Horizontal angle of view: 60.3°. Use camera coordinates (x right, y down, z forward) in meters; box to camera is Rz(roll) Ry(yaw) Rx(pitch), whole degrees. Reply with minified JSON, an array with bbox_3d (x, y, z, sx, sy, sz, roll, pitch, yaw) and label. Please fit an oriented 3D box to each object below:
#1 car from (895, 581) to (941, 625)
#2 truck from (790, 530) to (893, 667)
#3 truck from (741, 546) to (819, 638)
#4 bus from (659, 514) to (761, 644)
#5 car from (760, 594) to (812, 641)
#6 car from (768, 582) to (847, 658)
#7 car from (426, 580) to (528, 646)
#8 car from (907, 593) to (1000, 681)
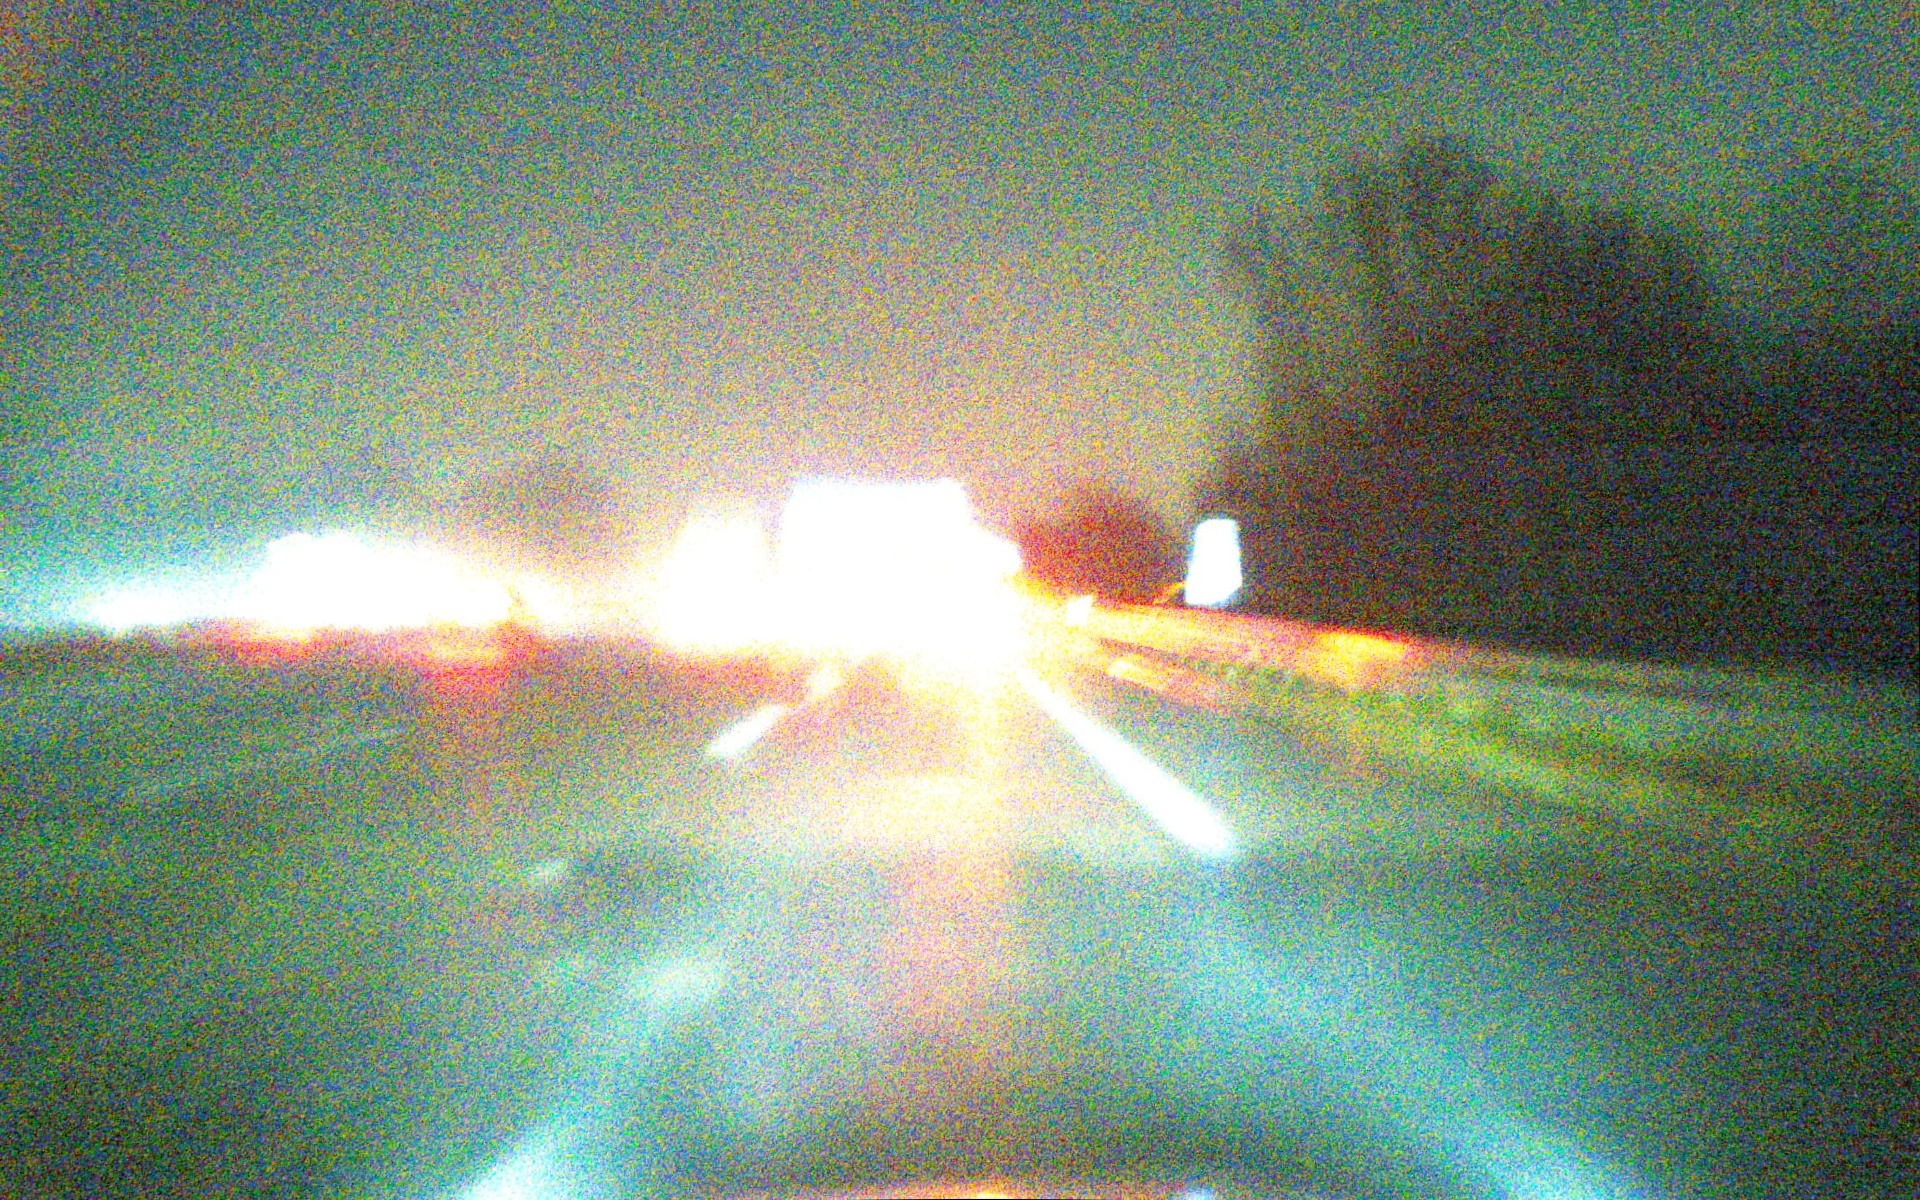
[{"bbox_3d":[-2.102,0.152,80.804,2.084,2.049,4.642,1,0,-3],"label":"car"},{"bbox_3d":[-5.252,-0.028,75.859,4.125,5.747,11.463,1,0,-2],"label":"truck"},{"bbox_3d":[-11.851,-0.485,110.035,4.125,5.747,11.463,1,0,-2],"label":"truck"},{"bbox_3d":[-9.533,-0.723,64.277,3.036,4.587,10.903,1,0,-4],"label":"bus"},{"bbox_3d":[-7.049,0.700,67.313,1.954,1.839,3.997,1,0,-4],"label":"car"},{"bbox_3d":[-4.374,0.567,48.009,2.084,2.049,4.642,1,0,-3],"label":"car"},{"bbox_3d":[-12.628,0.340,43.466,1.956,1.624,3.993,1,0,-7],"label":"car"},{"bbox_3d":[-0.181,0.792,37.136,1.953,1.839,3.999,1,0,-1],"label":"car"}]
